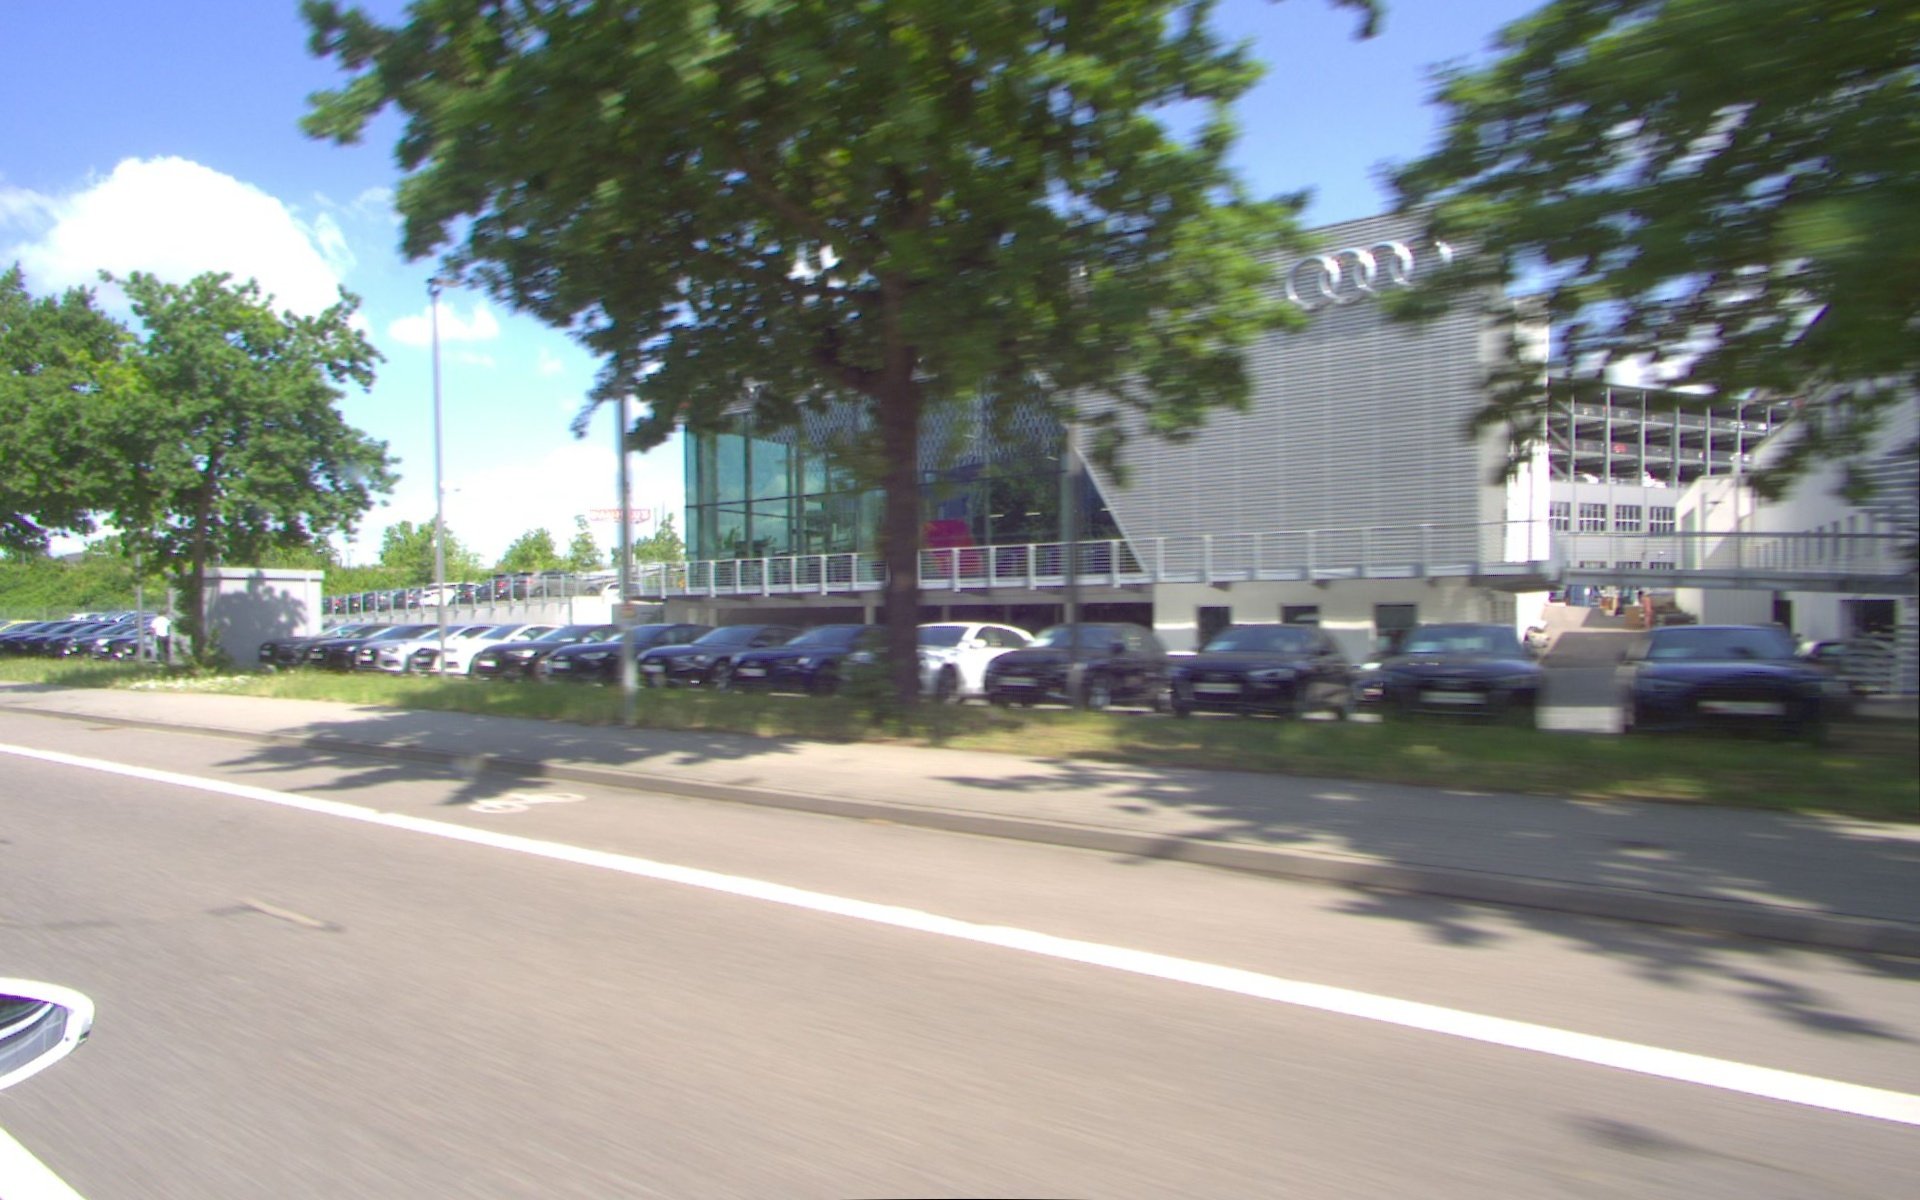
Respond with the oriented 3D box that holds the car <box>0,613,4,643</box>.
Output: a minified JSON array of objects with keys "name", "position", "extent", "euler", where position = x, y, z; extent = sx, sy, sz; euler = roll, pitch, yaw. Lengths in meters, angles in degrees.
[{"name":"car","position":[-50.942,1.384,49.973],"extent":[1.907,1.533,4.349],"euler":[2,0,31]}]

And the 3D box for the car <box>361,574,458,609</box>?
[{"name":"car","position":[-30.659,-0.434,55.877],"extent":[1.909,1.798,4.343],"euler":[2,0,35]}]

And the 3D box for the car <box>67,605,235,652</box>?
[{"name":"car","position":[-29.117,1.015,36.191],"extent":[1.907,1.533,4.349],"euler":[2,0,31]}]

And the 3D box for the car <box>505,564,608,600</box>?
[{"name":"car","position":[-19.676,-0.866,48.979],"extent":[1.909,1.572,4.343],"euler":[2,0,35]}]

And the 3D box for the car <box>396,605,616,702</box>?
[{"name":"car","position":[-10.837,1.218,24.262],"extent":[1.879,2.076,4.567],"euler":[2,0,32]}]

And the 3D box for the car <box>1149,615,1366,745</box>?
[{"name":"car","position":[4.457,0.999,14.469],"extent":[1.880,1.518,4.566],"euler":[-1,0,32]}]

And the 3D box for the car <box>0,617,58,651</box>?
[{"name":"car","position":[-45.946,1.608,47.474],"extent":[1.907,1.533,4.349],"euler":[2,0,31]}]

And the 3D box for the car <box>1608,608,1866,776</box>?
[{"name":"car","position":[8.651,0.862,11.557],"extent":[1.880,1.518,4.566],"euler":[-1,0,32]}]

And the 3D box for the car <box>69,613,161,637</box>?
[{"name":"car","position":[-56.106,1.628,66.550],"extent":[1.880,1.518,4.338],"euler":[-1,0,32]}]

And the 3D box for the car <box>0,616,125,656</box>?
[{"name":"car","position":[-37.892,1.469,41.730],"extent":[1.907,1.533,4.349],"euler":[2,0,31]}]

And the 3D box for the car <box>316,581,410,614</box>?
[{"name":"car","position":[-35.066,-0.151,58.886],"extent":[1.909,1.798,4.343],"euler":[2,0,35]}]

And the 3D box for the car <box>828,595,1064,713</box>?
[{"name":"car","position":[-0.075,0.837,17.220],"extent":[1.879,1.700,4.567],"euler":[2,0,32]}]

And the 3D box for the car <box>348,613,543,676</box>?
[{"name":"car","position":[-12.937,1.066,25.424],"extent":[1.792,1.422,4.099],"euler":[0,0,32]}]

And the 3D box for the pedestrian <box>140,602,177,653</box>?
[{"name":"pedestrian","position":[-23.814,0.820,29.756],"extent":[0.761,1.479,0.632],"euler":[2,1,31]}]

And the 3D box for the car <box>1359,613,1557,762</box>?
[{"name":"car","position":[6.567,0.956,12.914],"extent":[1.880,1.518,4.566],"euler":[-1,0,32]}]

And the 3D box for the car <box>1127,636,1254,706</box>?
[{"name":"car","position":[6.013,1.737,25.762],"extent":[1.880,1.518,4.338],"euler":[-1,0,32]}]

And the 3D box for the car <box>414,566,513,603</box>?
[{"name":"car","position":[-26.273,-0.783,53.125],"extent":[1.909,1.798,4.343],"euler":[2,0,35]}]

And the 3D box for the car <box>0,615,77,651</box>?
[{"name":"car","position":[-42.123,1.443,44.193],"extent":[1.907,1.533,4.349],"euler":[2,0,31]}]

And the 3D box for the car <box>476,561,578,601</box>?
[{"name":"car","position":[-21.684,-0.928,50.331],"extent":[1.909,1.798,4.343],"euler":[2,0,35]}]

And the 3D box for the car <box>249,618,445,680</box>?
[{"name":"car","position":[-17.140,1.314,28.211],"extent":[1.829,1.533,4.345],"euler":[-1,0,33]}]

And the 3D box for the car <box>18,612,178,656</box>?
[{"name":"car","position":[-33.490,1.293,39.037],"extent":[1.907,1.533,4.349],"euler":[2,0,31]}]

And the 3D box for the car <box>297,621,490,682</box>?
[{"name":"car","position":[-14.960,1.312,26.646],"extent":[1.829,1.464,4.099],"euler":[0,-1,33]}]

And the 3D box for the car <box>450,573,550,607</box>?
[{"name":"car","position":[-23.865,-0.502,52.103],"extent":[1.909,1.572,4.343],"euler":[2,0,35]}]

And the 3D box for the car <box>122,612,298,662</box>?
[{"name":"car","position":[-24.999,1.200,33.543],"extent":[1.907,1.533,4.349],"euler":[2,0,31]}]

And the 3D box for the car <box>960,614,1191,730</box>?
[{"name":"car","position":[1.997,1.007,15.865],"extent":[1.880,1.518,4.566],"euler":[-1,0,32]}]

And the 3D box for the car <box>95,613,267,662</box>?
[{"name":"car","position":[-27.038,1.274,34.895],"extent":[1.907,1.533,4.349],"euler":[2,0,31]}]

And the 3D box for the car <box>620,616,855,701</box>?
[{"name":"car","position":[-4.225,1.071,19.798],"extent":[1.879,1.423,4.567],"euler":[2,0,32]}]

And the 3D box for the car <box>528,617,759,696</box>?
[{"name":"car","position":[-6.601,1.125,21.401],"extent":[1.879,1.423,4.567],"euler":[2,0,32]}]

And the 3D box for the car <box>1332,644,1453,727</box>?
[{"name":"car","position":[9.853,1.830,22.627],"extent":[1.880,1.518,4.338],"euler":[-1,0,32]}]

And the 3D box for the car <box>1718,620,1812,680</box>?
[{"name":"car","position":[29.520,1.781,36.863],"extent":[1.969,2.040,3.983],"euler":[2,0,29]}]

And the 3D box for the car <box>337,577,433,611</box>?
[{"name":"car","position":[-32.759,-0.315,57.146],"extent":[1.909,1.798,4.343],"euler":[2,0,35]}]

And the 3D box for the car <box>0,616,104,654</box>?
[{"name":"car","position":[-39.908,1.482,43.067],"extent":[1.907,1.533,4.349],"euler":[2,0,31]}]

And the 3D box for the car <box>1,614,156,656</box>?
[{"name":"car","position":[-35.518,1.386,40.481],"extent":[1.907,1.533,4.349],"euler":[2,0,31]}]

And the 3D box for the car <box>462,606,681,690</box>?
[{"name":"car","position":[-8.646,1.150,22.682],"extent":[1.760,1.530,4.346],"euler":[2,-5,32]}]

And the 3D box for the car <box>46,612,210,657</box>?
[{"name":"car","position":[-31.101,1.256,37.551],"extent":[1.907,1.533,4.349],"euler":[2,0,31]}]

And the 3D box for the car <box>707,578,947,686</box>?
[{"name":"car","position":[-2.272,0.537,18.370],"extent":[1.879,1.700,4.567],"euler":[2,0,32]}]

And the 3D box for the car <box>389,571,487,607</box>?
[{"name":"car","position":[-28.378,-0.576,54.541],"extent":[1.909,1.798,4.343],"euler":[2,0,35]}]

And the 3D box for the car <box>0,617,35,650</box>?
[{"name":"car","position":[-48.500,1.643,49.014],"extent":[1.907,1.533,4.349],"euler":[2,0,31]}]
